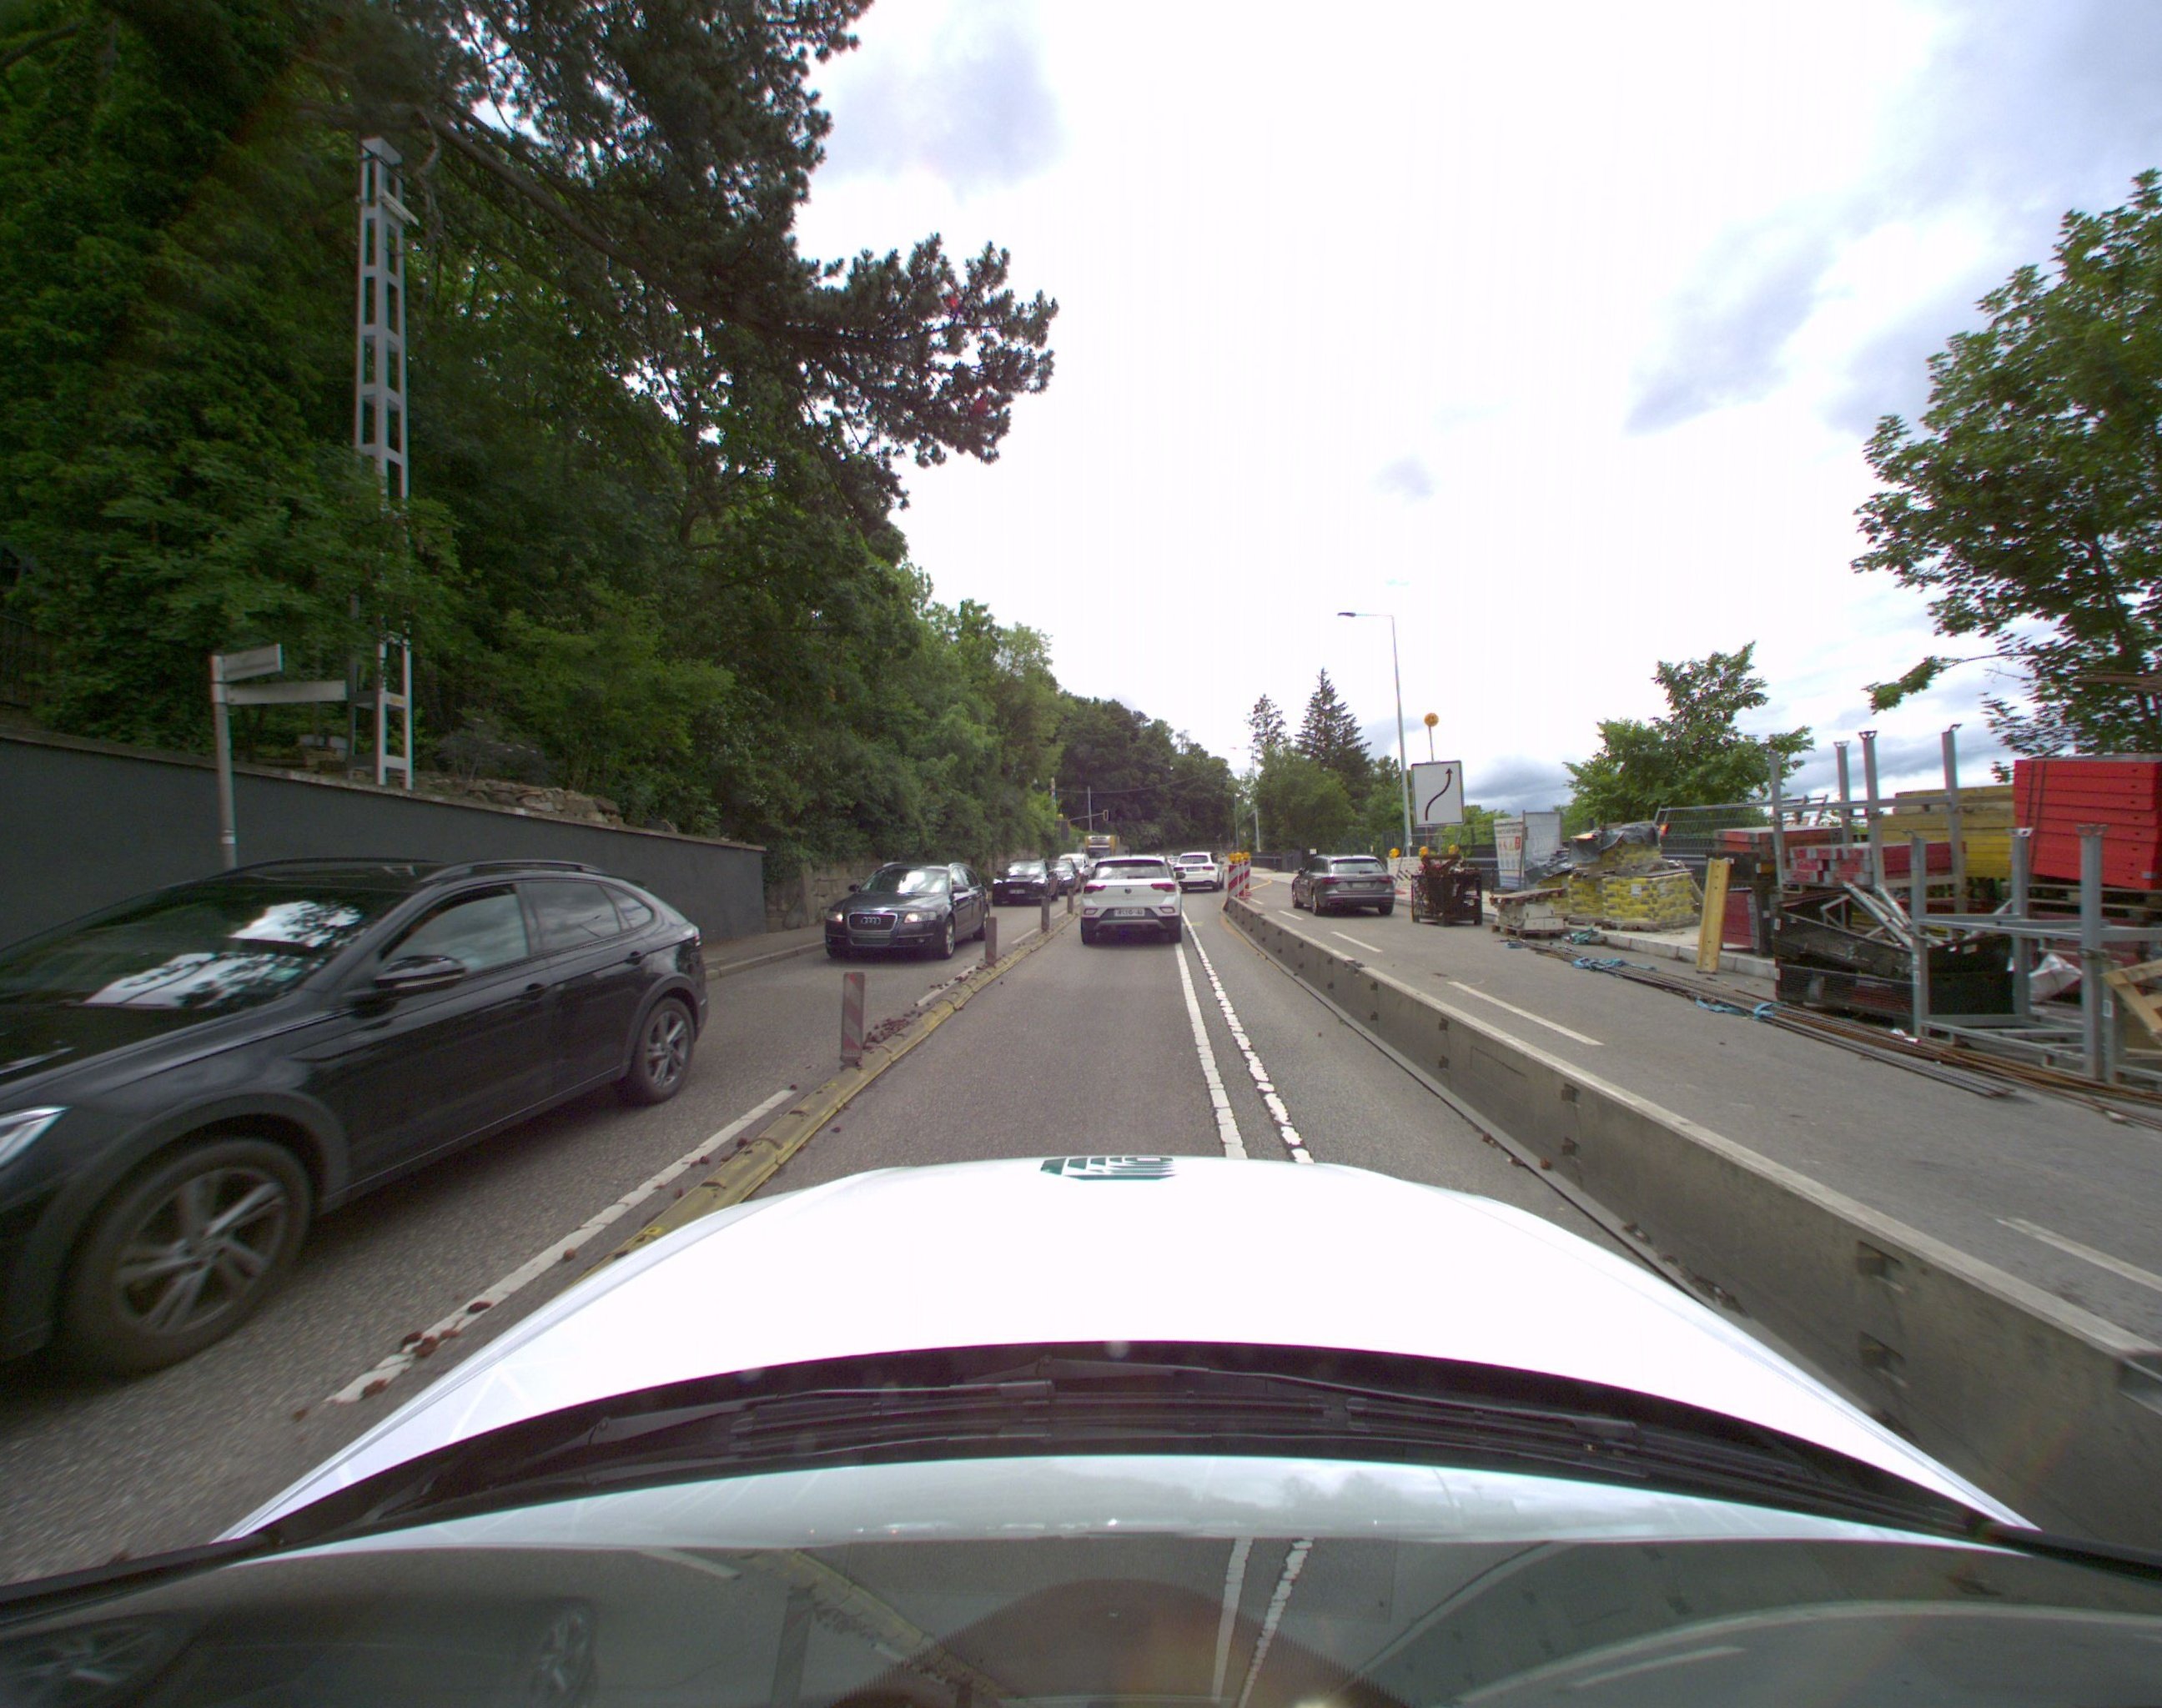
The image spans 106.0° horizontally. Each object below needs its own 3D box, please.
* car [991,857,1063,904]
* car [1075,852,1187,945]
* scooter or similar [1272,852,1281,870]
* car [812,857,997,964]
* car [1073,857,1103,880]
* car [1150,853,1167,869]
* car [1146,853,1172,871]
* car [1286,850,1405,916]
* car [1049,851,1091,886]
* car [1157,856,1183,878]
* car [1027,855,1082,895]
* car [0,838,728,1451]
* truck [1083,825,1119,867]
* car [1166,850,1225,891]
[{"bbox_3d":[-1.751,0.857,27.865,1.820,1.485,4.324,0,0,5],"label":"car"},{"bbox_3d":[0.993,0.753,15.537,1.858,1.536,3.808,0,0,5],"label":"car"},{"bbox_3d":[13.784,0.503,57.478,0.531,1.226,1.210,-4,0,11],"label":"scooter or similar"},{"bbox_3d":[-2.691,0.798,13.554,1.783,1.464,4.515,0,0,4],"label":"car"},{"bbox_3d":[0.498,0.993,55.585,1.783,1.507,4.316,0,0,4],"label":"car"},{"bbox_3d":[8.241,0.718,86.457,1.806,1.689,4.007,0,-1,6],"label":"car"},{"bbox_3d":[7.063,0.718,74.254,1.987,1.541,4.010,0,0,1],"label":"car"},{"bbox_3d":[6.483,0.652,20.493,1.831,1.455,4.634,-1,0,5],"label":"car"},{"bbox_3d":[-0.526,0.772,43.771,1.794,1.790,4.348,0,-1,6],"label":"car"},{"bbox_3d":[6.604,0.950,60.645,1.897,1.574,4.006,0,-1,6],"label":"car"},{"bbox_3d":[-1.072,0.855,35.251,1.822,1.592,4.660,0,0,5],"label":"car"},{"bbox_3d":[-3.484,0.723,3.868,1.751,1.529,3.913,0,0,2],"label":"car"},{"bbox_3d":[1.876,-0.640,73.287,2.718,3.510,7.360,-2,-1,5],"label":"truck"},{"bbox_3d":[4.859,0.671,34.108,1.979,1.586,4.015,-1,-1,14],"label":"car"}]
